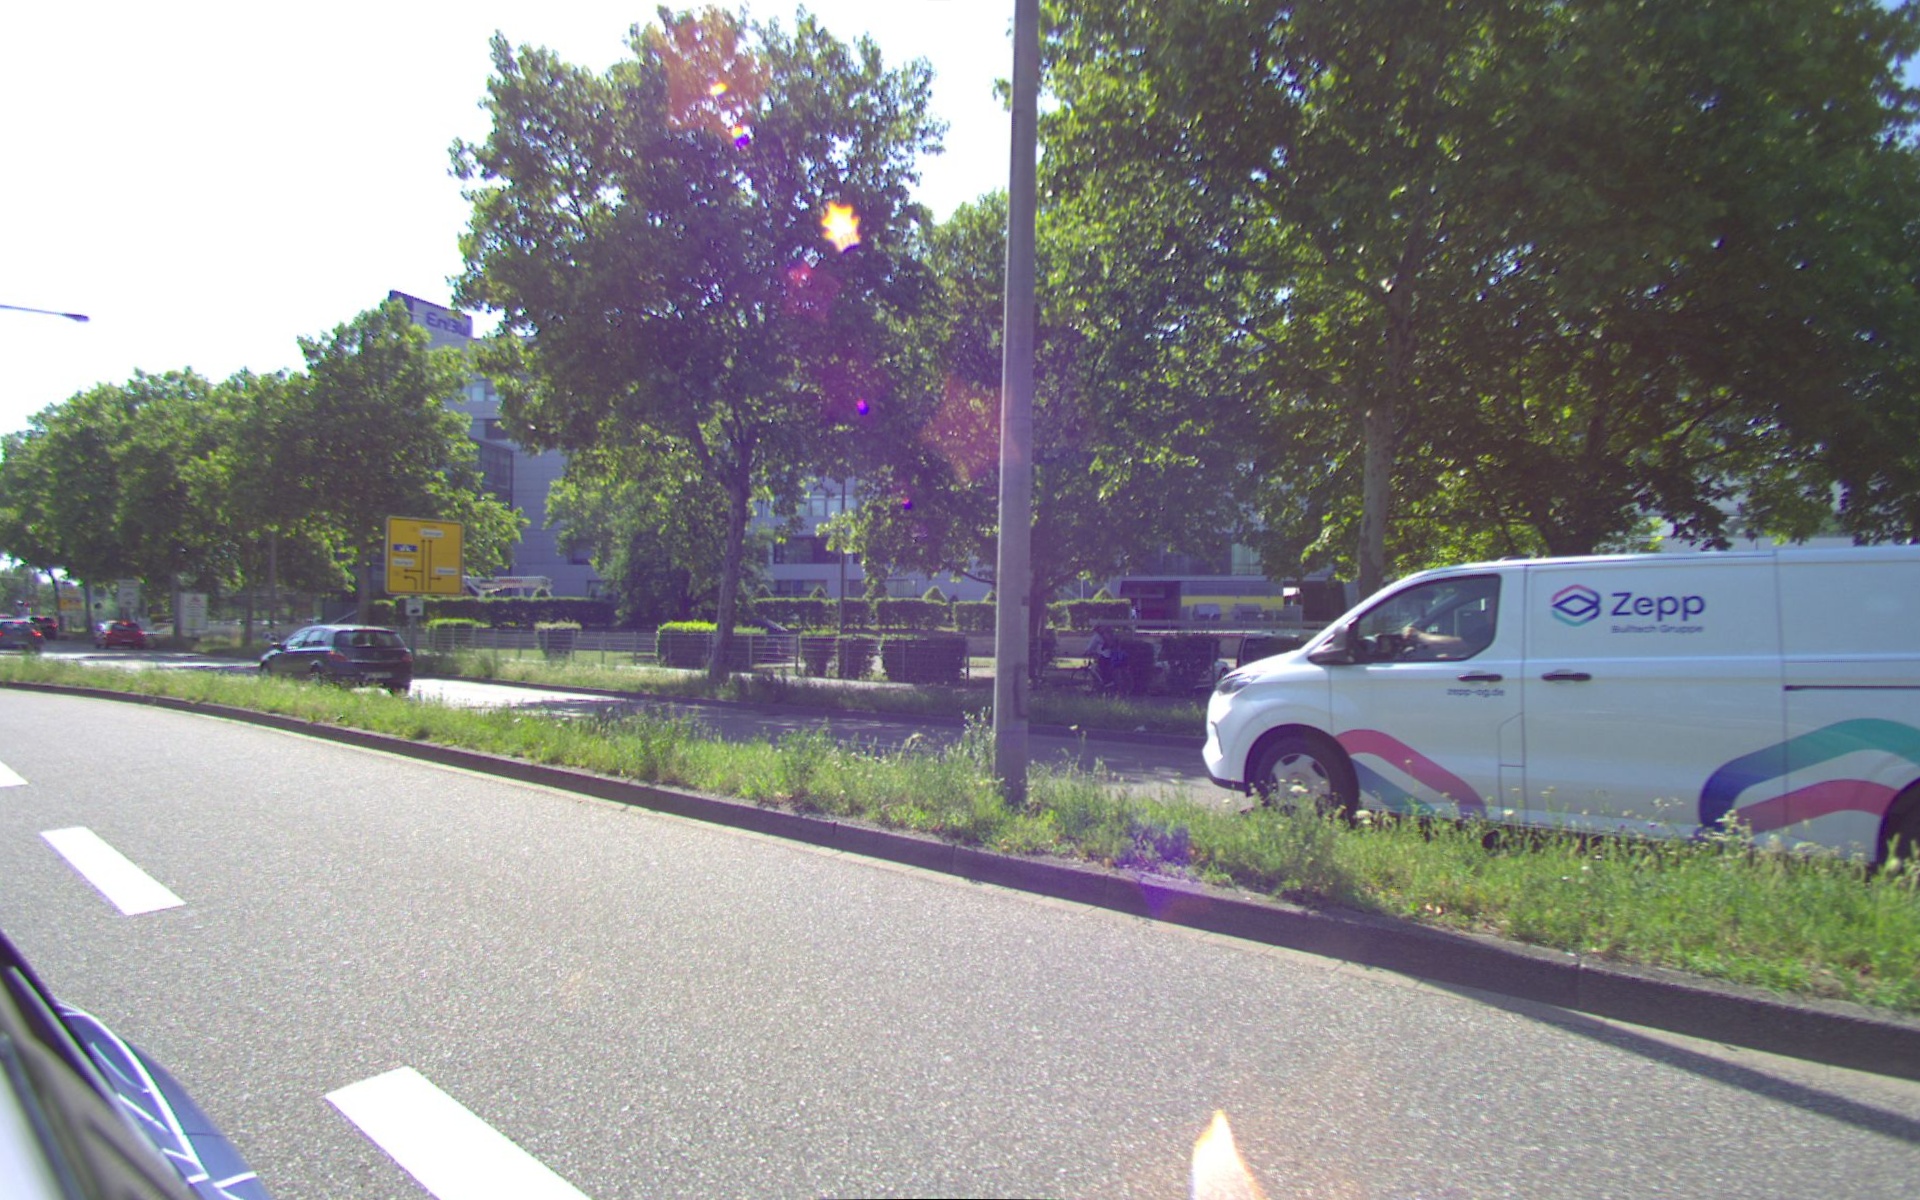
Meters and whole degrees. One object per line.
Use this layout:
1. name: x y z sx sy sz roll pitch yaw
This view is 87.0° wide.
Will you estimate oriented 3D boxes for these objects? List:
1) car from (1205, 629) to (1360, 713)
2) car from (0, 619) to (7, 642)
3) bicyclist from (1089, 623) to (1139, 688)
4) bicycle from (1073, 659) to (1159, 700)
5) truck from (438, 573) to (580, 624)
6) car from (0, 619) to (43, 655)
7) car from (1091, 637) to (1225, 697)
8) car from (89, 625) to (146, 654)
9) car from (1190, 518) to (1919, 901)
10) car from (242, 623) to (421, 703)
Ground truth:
1. car: 8.084 1.669 25.198 2.157 1.836 3.942 -1 -1 44
2. car: -65.623 2.048 67.887 4.983 1.479 1.809 -1 -2 39
3. bicyclist: 3.618 1.302 23.811 0.941 1.496 0.674 -2 -3 41
4. bicycle: 3.645 1.853 23.762 1.925 0.873 0.682 -1 -3 41
5. truck: -31.440 -0.057 70.721 8.875 3.421 2.669 0 -2 5
6. car: -40.384 1.549 42.818 4.164 1.490 1.820 -1 -3 41
7. car: 5.315 1.730 26.892 1.771 1.475 3.945 -2 -3 41
8. car: -45.464 2.130 54.588 3.998 1.473 1.745 -1 -4 41
9. car: 4.460 0.601 6.651 5.414 1.898 2.095 -2 -3 40
10. car: -13.037 1.235 20.910 4.277 1.480 1.751 -1 -3 38
